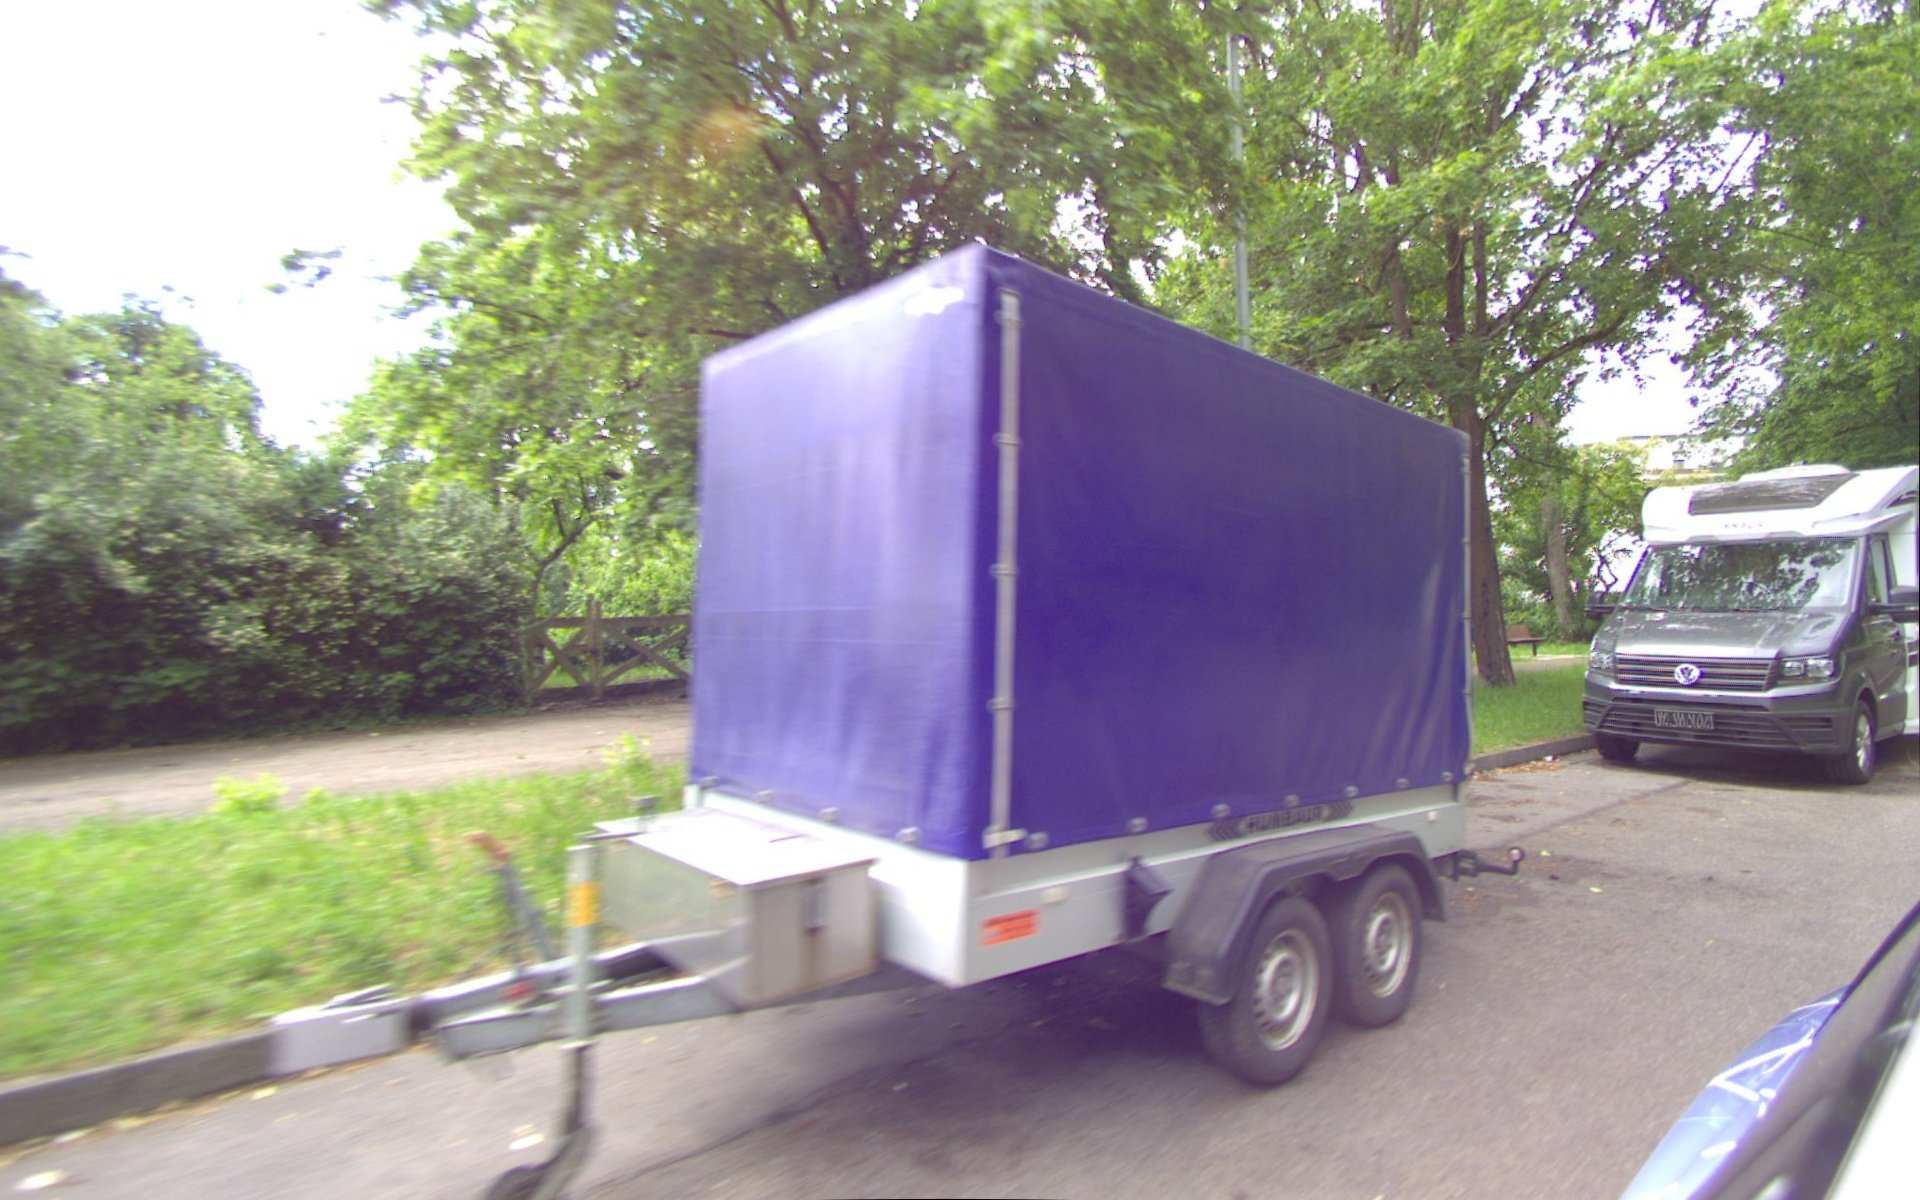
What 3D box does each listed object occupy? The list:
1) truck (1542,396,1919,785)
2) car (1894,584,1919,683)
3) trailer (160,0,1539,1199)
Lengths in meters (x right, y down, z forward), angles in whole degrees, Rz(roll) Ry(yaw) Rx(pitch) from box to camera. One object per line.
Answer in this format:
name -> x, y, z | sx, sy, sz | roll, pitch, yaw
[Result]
truck -> 8.981, -0.108, 10.719 | 6.902, 2.970, 2.310 | -1, 0, -36
car -> 17.175, 0.498, 16.747 | 3.696, 1.567, 1.701 | -1, 0, -34
trailer -> 0.146, 0.187, 3.694 | 4.621, 2.392, 2.109 | 2, -1, -43
